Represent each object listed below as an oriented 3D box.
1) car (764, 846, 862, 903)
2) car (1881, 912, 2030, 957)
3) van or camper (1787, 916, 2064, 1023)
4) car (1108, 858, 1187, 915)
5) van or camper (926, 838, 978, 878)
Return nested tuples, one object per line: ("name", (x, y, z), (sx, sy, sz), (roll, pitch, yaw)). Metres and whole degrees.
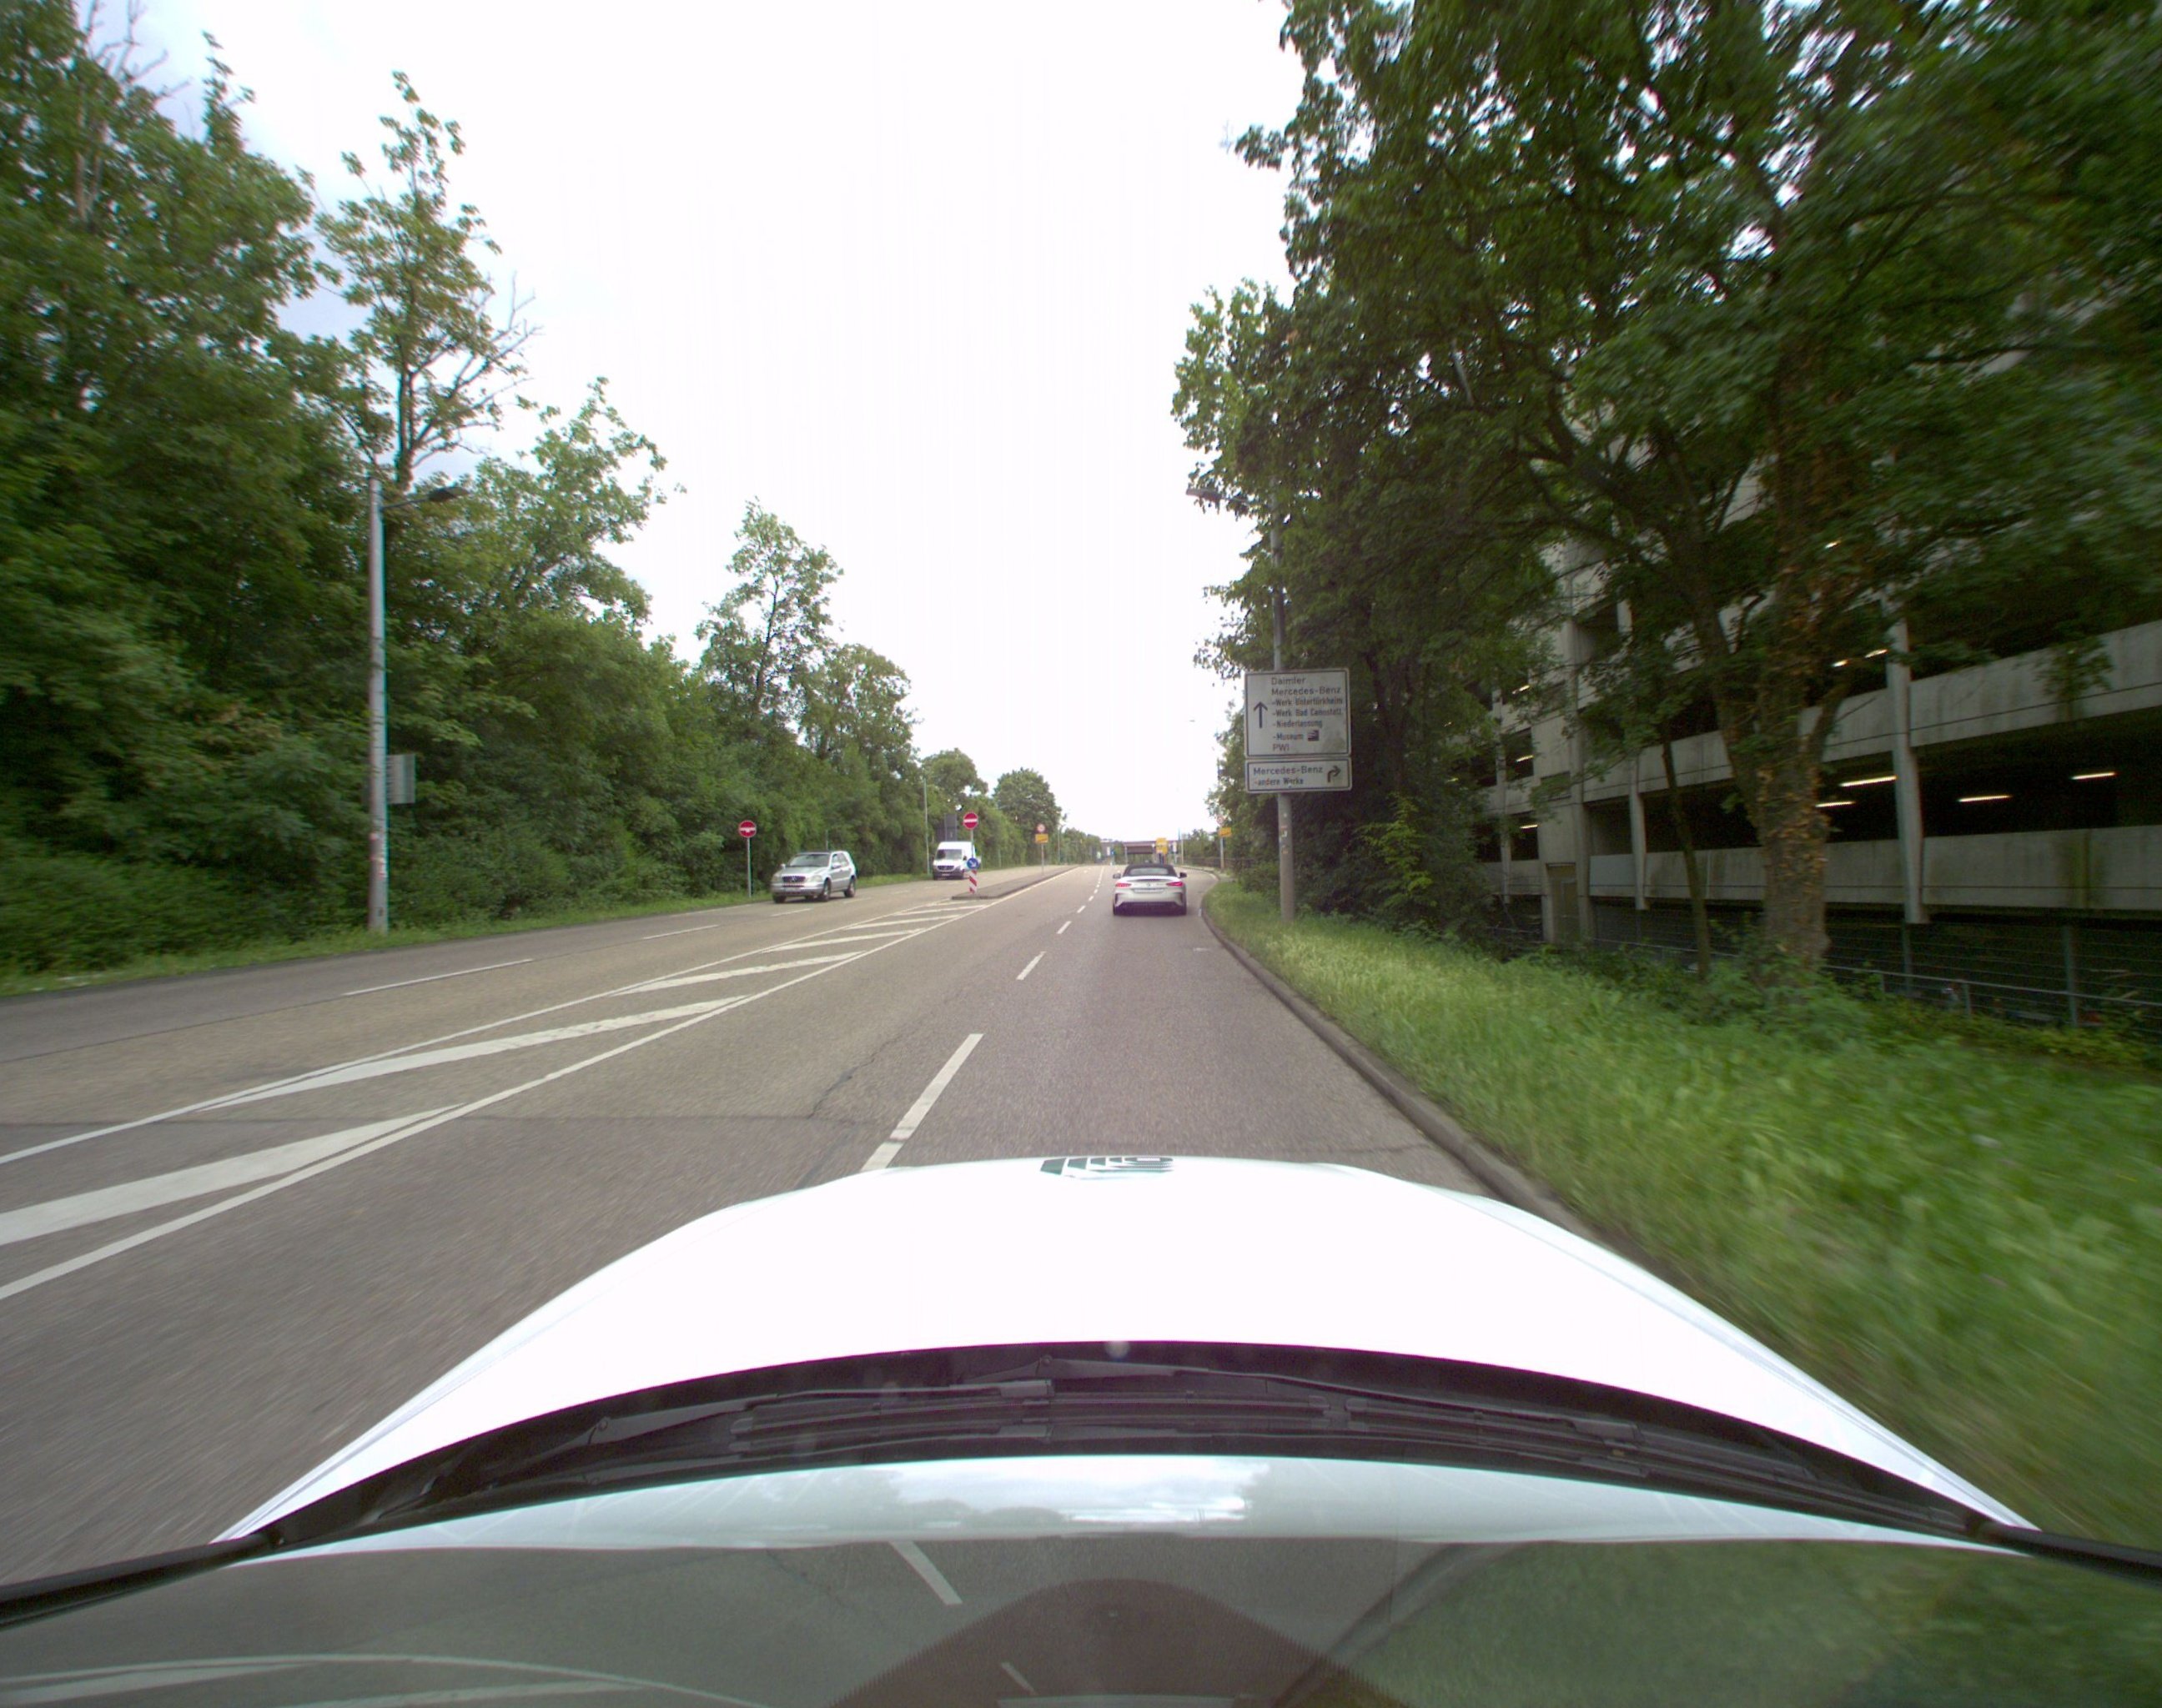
("car", (-9.419, 0.649, 29.008), (1.806, 1.830, 4.386), (-2, 0, 2))
("car", (29.750, 2.737, 27.788), (3.188, 1.307, 1.570), (-3, -2, 4))
("van or camper", (18.287, 2.467, 17.793), (3.990, 1.954, 1.840), (-2, -2, 1))
("car", (1.729, 0.799, 21.708), (1.867, 1.309, 3.876), (-2, 0, 3))
("van or camper", (-8.732, 0.241, 55.952), (2.274, 2.555, 6.861), (0, 0, 1))
